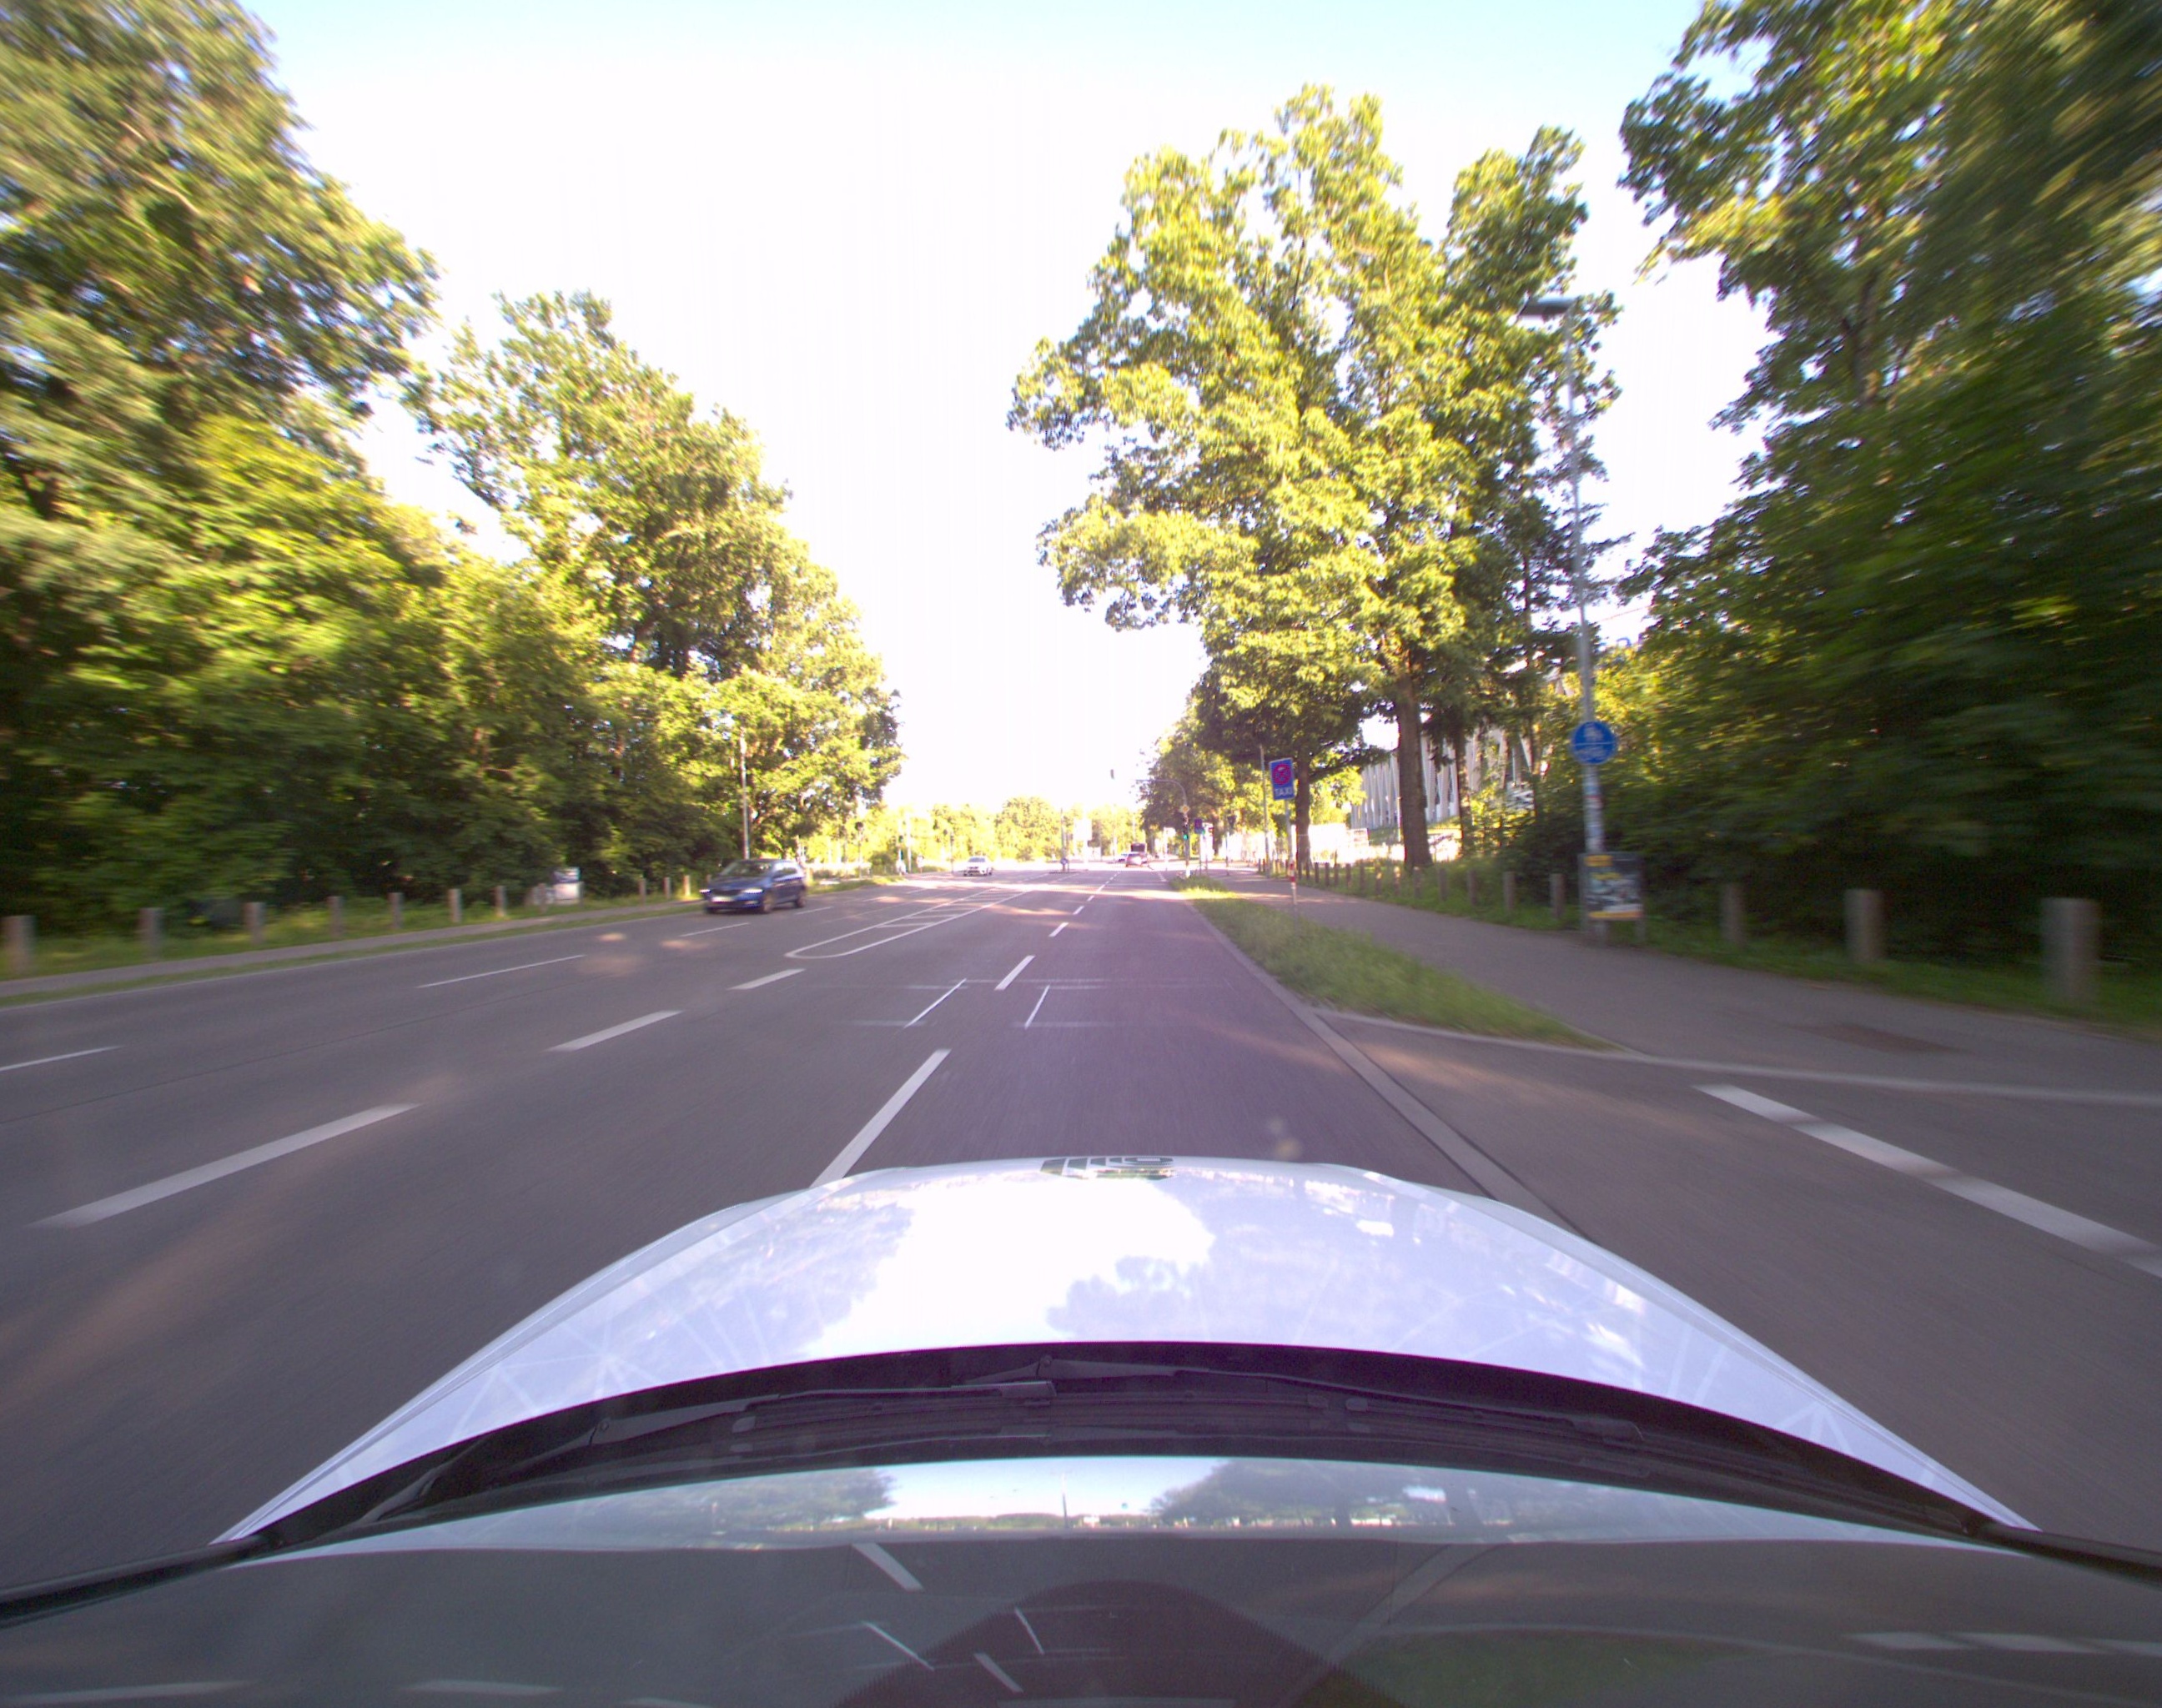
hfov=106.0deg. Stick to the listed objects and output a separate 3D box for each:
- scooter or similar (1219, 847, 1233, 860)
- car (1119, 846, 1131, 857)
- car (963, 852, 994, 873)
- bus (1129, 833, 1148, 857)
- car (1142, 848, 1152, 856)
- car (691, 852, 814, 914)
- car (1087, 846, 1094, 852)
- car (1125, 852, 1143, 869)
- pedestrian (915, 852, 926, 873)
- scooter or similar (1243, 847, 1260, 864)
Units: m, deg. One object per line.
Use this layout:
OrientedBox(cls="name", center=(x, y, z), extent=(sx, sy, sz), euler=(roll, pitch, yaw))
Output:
OrientedBox(cls="scooter or similar", center=(14.230, -0.030, 79.791), extent=(0.562, 1.256, 1.610), euler=(-2, 0, 42))
OrientedBox(cls="car", center=(7.441, -0.381, 137.485), extent=(1.872, 1.765, 4.004), euler=(-2, 1, 4))
OrientedBox(cls="car", center=(-7.672, 0.611, 61.147), extent=(1.704, 1.464, 4.101), euler=(0, 0, 1))
OrientedBox(cls="bus", center=(8.230, -1.293, 116.735), extent=(2.594, 3.368, 7.983), euler=(-1, 0, 3))
OrientedBox(cls="car", center=(14.006, -0.397, 171.647), extent=(1.853, 1.684, 3.781), euler=(-3, 0, 7))
OrientedBox(cls="car", center=(-9.030, 0.733, 22.731), extent=(1.649, 1.508, 4.002), euler=(-2, 0, 2))
OrientedBox(cls="car", center=(2.845, -1.552, 252.231), extent=(1.855, 1.684, 3.776), euler=(-3, 0, 3))
OrientedBox(cls="car", center=(5.767, 0.681, 88.330), extent=(1.872, 1.765, 4.004), euler=(-2, 1, 4))
OrientedBox(cls="pedestrian", center=(-14.436, 0.769, 73.199), extent=(0.609, 1.909, 1.107), euler=(-2, -1, 3))
OrientedBox(cls="scooter or similar", center=(13.645, 0.104, 65.095), extent=(1.368, 1.288, 0.597), euler=(-2, 4, -39))
